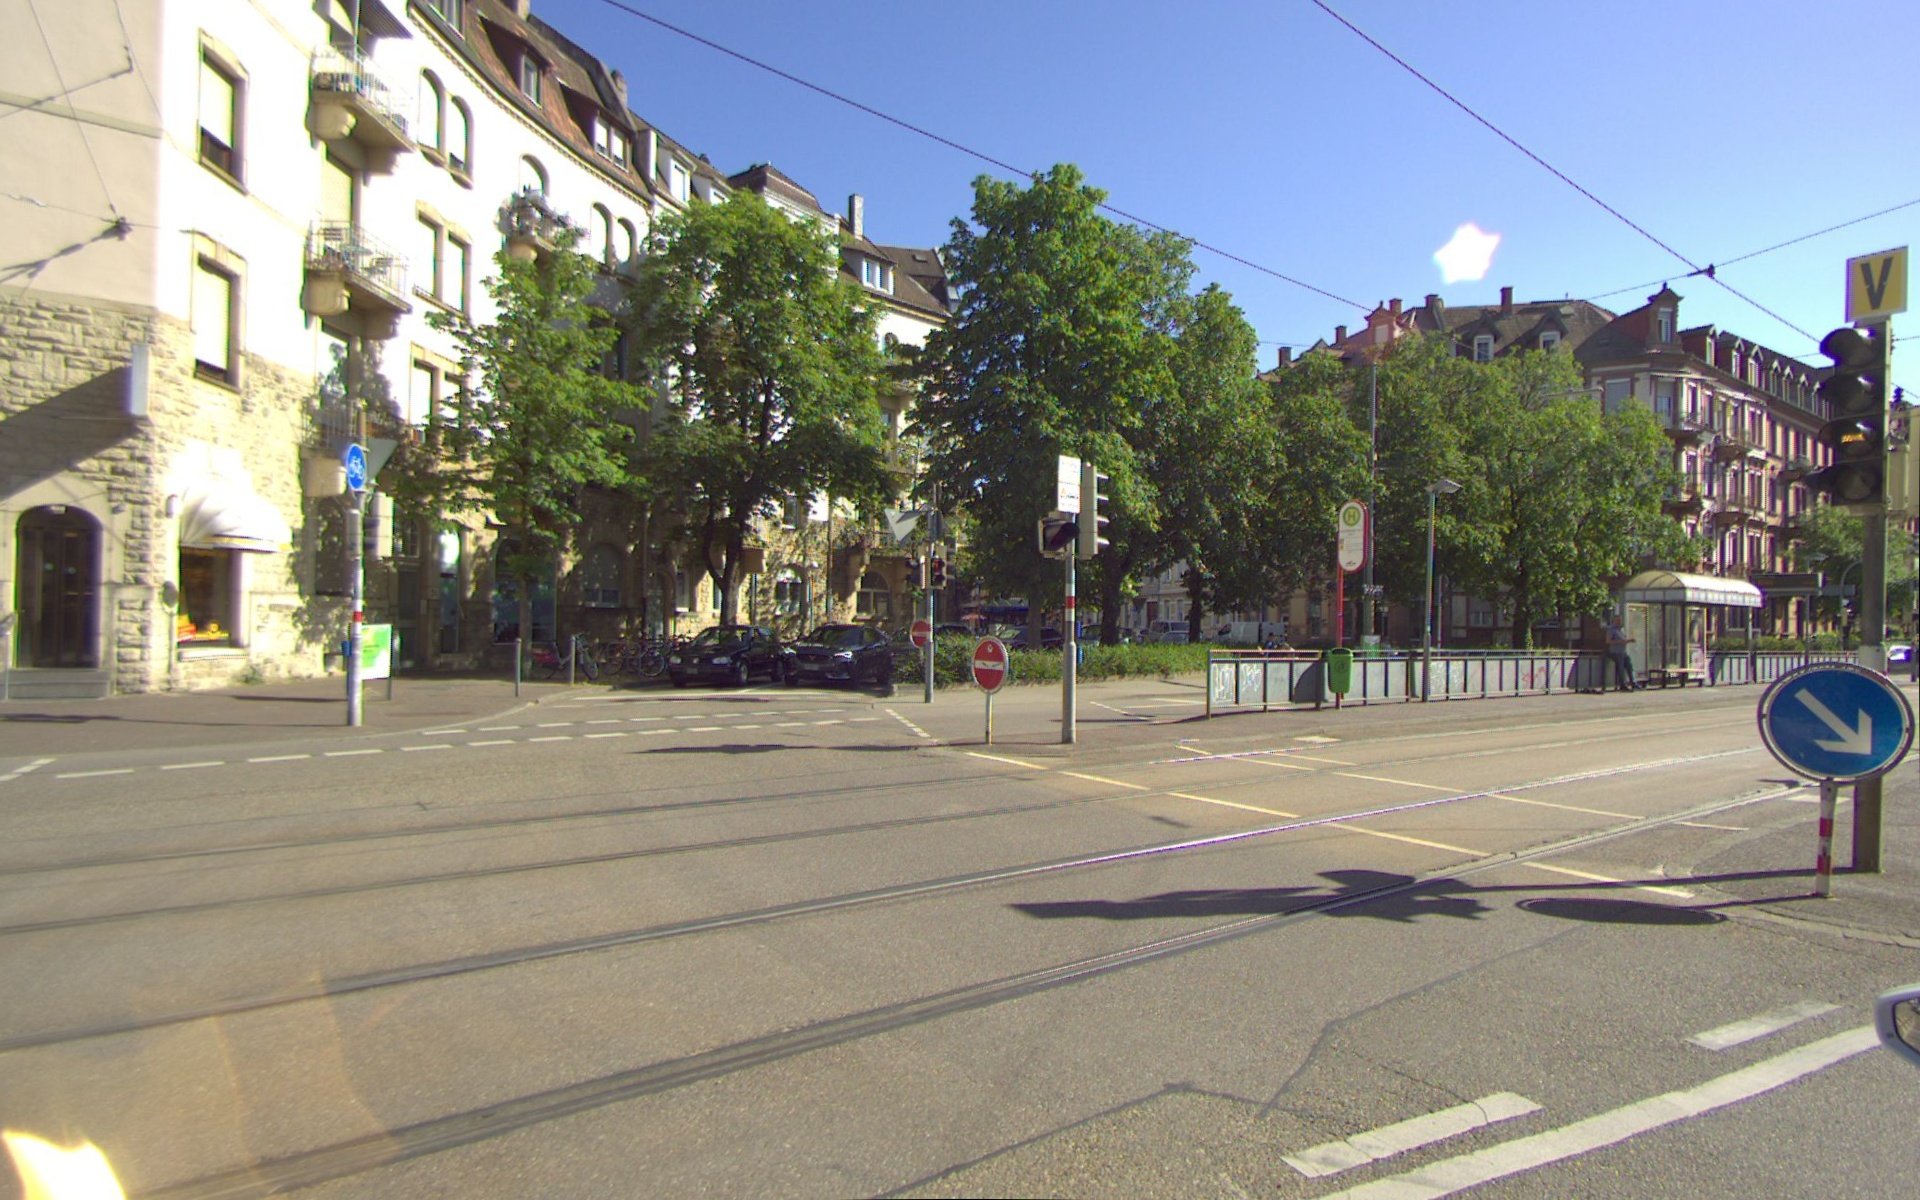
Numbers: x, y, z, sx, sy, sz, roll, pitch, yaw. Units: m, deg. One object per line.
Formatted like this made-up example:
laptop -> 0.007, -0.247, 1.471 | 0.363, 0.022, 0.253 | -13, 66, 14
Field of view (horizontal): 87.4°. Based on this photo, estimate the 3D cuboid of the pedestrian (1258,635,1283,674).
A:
pedestrian -> 9.826, 1.706, 31.789 | 0.598, 1.217, 0.577 | -1, -2, 38

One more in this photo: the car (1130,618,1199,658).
car -> 11.557, 2.113, 57.062 | 1.967, 2.040, 4.574 | 3, -1, -16

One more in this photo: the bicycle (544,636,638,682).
bicycle -> -8.832, 1.396, 24.051 | 1.997, 0.993, 0.611 | 2, -1, 4

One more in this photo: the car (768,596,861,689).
car -> -3.469, 0.989, 24.690 | 1.962, 2.040, 3.997 | 2, -1, -5

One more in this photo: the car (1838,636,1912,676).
car -> 40.950, 2.505, 44.949 | 3.964, 1.639, 1.763 | 3, -1, -38

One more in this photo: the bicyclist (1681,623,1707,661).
bicyclist -> 33.409, 1.898, 45.743 | 0.726, 1.687, 0.710 | 3, -1, -32

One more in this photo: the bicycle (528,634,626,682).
bicycle -> -8.861, 1.337, 23.254 | 1.997, 0.993, 0.611 | 2, -1, 4

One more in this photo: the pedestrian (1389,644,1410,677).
pedestrian -> 16.389, 2.261, 37.464 | 0.598, 1.217, 0.577 | -1, -2, 38

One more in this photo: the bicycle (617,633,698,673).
bicycle -> -8.263, 1.434, 27.451 | 1.997, 0.993, 0.611 | 2, -1, 4

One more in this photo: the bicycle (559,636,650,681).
bicycle -> -8.784, 1.445, 24.836 | 1.997, 0.993, 0.611 | 2, -1, 4

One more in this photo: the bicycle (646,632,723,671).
bicycle -> -7.912, 1.473, 28.866 | 1.997, 0.993, 0.611 | 2, -1, 4

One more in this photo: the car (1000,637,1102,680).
car -> 3.387, 2.110, 36.972 | 1.728, 1.450, 3.979 | -1, -1, 42

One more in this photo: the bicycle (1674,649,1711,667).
bicycle -> 33.379, 2.639, 45.743 | 1.895, 0.759, 0.715 | 3, -1, -32

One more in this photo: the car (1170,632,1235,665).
car -> 11.588, 2.284, 47.868 | 1.724, 1.450, 3.988 | 0, -1, 34

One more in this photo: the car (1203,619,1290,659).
car -> 15.971, 2.145, 56.239 | 1.971, 2.040, 5.003 | 3, -1, -22

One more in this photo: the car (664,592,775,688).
car -> -5.681, 0.917, 24.189 | 1.962, 2.040, 3.997 | 2, -1, -5

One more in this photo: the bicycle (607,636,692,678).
bicycle -> -8.170, 1.504, 26.453 | 1.997, 0.993, 0.611 | 2, -1, 4

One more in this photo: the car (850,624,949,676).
car -> -1.767, 1.476, 30.798 | 1.719, 1.450, 4.001 | 0, -1, 18

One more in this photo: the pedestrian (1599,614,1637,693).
pedestrian -> 15.571, 1.257, 23.766 | 0.574, 1.819, 0.601 | 2, -2, -37

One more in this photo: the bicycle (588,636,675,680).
bicycle -> -8.370, 1.472, 25.612 | 1.997, 0.993, 0.611 | 2, -1, 4
